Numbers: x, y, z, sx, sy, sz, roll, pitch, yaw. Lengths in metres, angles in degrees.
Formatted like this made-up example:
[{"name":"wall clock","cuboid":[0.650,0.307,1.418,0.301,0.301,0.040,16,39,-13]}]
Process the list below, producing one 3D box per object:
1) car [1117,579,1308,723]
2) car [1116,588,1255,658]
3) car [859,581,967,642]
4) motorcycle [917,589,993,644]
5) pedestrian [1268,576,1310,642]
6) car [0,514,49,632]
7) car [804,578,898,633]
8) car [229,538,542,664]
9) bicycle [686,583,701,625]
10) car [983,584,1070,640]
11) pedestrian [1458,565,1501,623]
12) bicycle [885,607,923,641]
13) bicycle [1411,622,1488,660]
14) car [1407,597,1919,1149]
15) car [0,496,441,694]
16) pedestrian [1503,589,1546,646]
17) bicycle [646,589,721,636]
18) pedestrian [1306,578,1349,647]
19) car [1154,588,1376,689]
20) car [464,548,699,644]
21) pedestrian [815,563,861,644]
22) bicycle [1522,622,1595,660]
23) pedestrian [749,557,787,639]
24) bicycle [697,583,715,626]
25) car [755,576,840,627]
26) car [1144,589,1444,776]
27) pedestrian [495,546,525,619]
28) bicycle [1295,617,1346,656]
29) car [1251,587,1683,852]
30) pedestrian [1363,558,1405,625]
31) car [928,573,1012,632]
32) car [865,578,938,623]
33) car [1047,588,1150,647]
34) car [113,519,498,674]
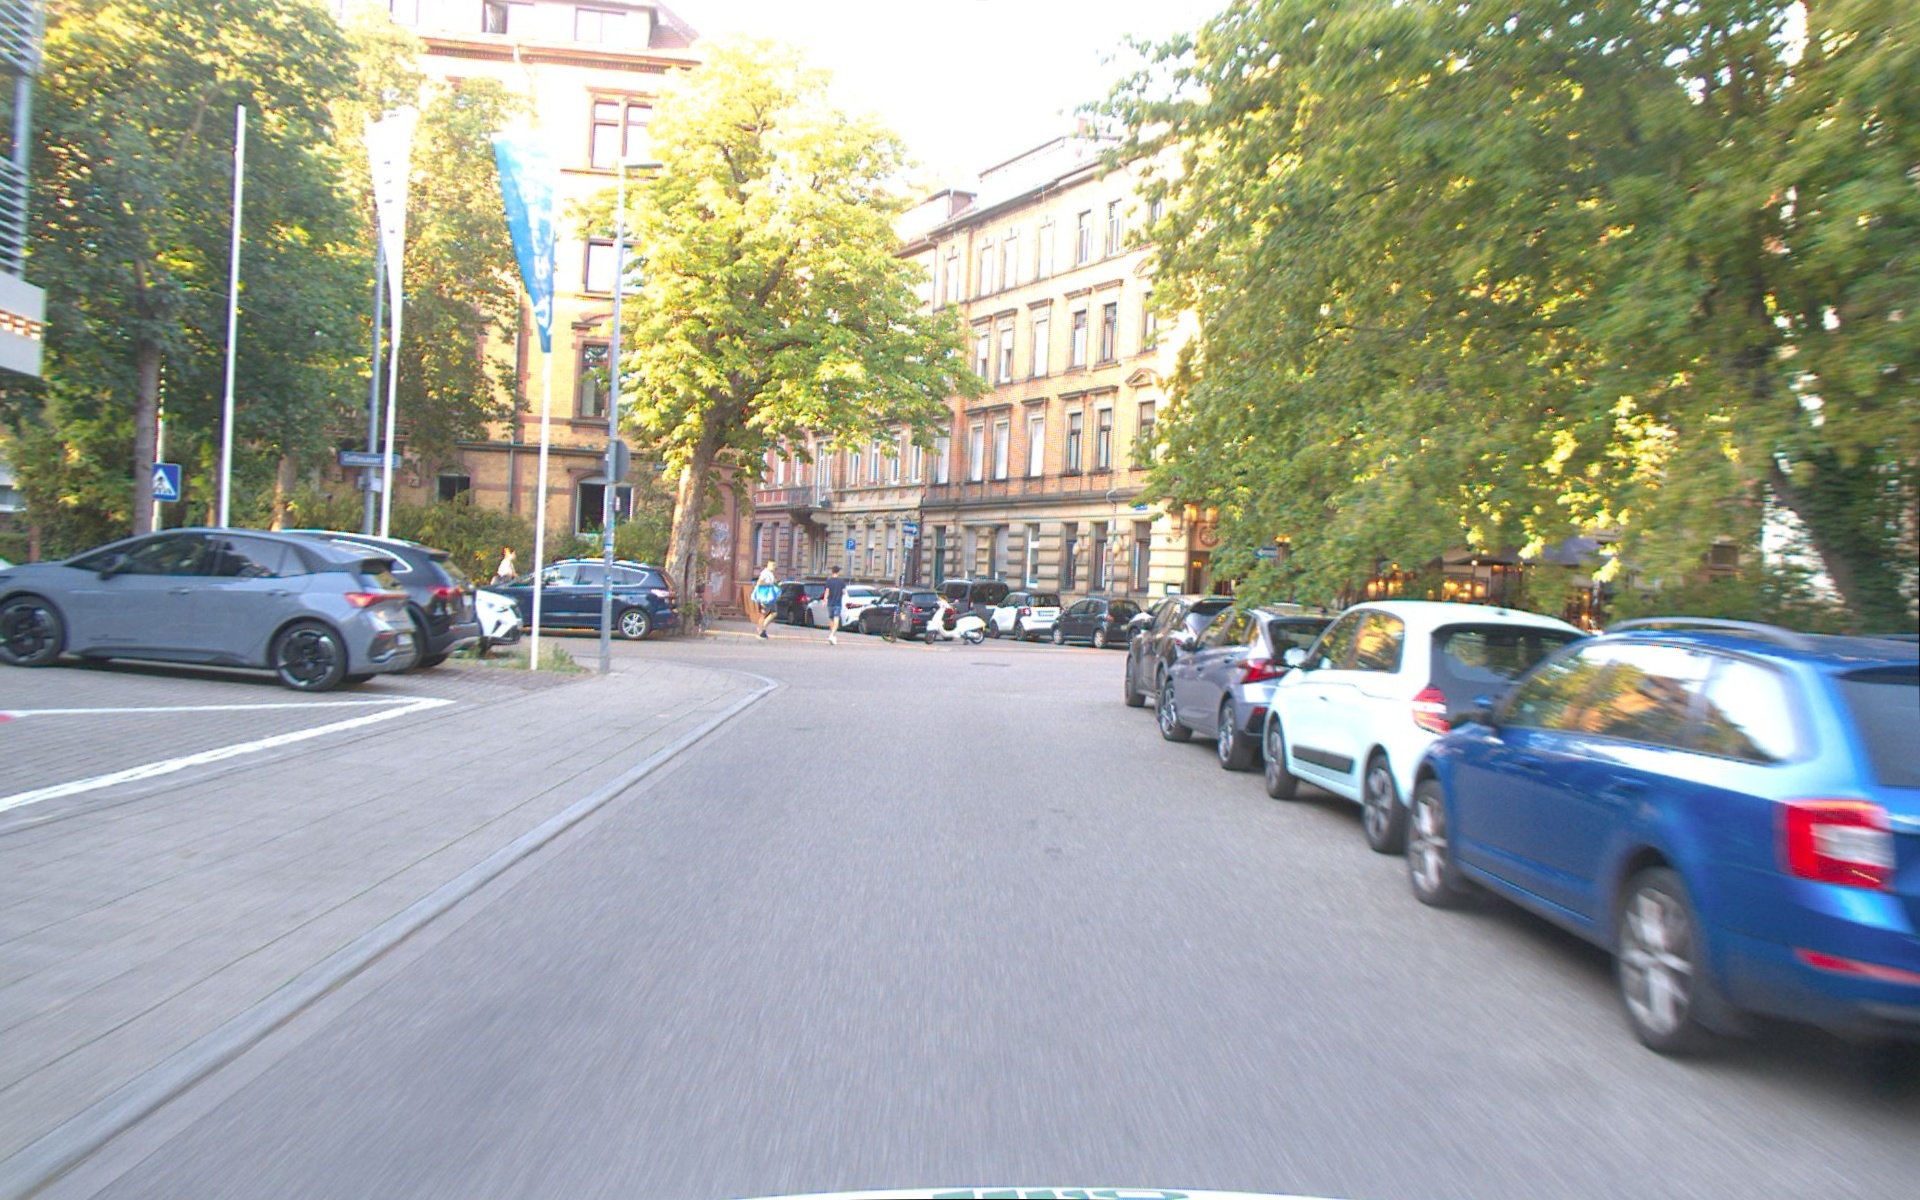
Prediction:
[{"name":"car","cuboid":[3.126,0.577,21.199,1.661,1.598,3.970,3,0,-2]},{"name":"car","cuboid":[6.058,0.585,44.827,1.890,1.552,3.867,3,2,-25]},{"name":"car","cuboid":[-1.406,0.295,47.557,1.633,1.455,3.960,3,2,-25]},{"name":"motorcycle","cuboid":[-0.133,0.446,44.404,1.897,1.364,0.576,2,1,-12]},{"name":"pedestrian","cuboid":[9.383,0.252,47.198,0.828,1.835,0.771,2,1,-22]},{"name":"car","cuboid":[-13.596,-0.398,21.326,1.669,1.577,4.218,3,0,-6]},{"name":"car","cuboid":[-3.483,0.153,52.100,1.632,1.455,4.139,3,2,-23]},{"name":"car","cuboid":[-8.467,-0.011,24.683,3.967,1.500,1.919,5,1,-5]},{"name":"bicycle","cuboid":[-6.950,0.095,43.191,0.237,1.046,1.676,2,1,-5]},{"name":"car","cuboid":[2.090,0.368,52.791,1.653,1.552,2.746,3,1,-25]},{"name":"pedestrian","cuboid":[14.076,-0.174,44.826,0.759,1.507,0.759,2,1,-12]},{"name":"bicycle","cuboid":[-1.432,0.608,42.265,0.416,0.836,1.462,3,1,21]},{"name":"bicycle","cuboid":[12.548,1.052,42.423,1.935,0.900,0.399,2,1,-15]},{"name":"car","cuboid":[3.253,0.790,6.678,1.661,1.502,4.116,3,0,-1]},{"name":"car","cuboid":[-7.800,-0.078,17.324,4.048,1.645,1.912,5,1,-3]},{"name":"pedestrian","cuboid":[15.380,0.476,45.051,0.759,1.507,0.760,2,1,-12]},{"name":"bicycle","cuboid":[-6.496,0.290,38.839,1.650,1.046,0.442,2,1,-26]},{"name":"pedestrian","cuboid":[10.093,0.329,45.436,0.760,1.835,0.840,2,1,-16]},{"name":"car","cuboid":[5.228,0.650,28.054,1.849,1.492,3.947,4,1,42]},{"name":"car","cuboid":[-8.191,-0.107,36.166,4.738,1.762,1.918,3,1,-7]},{"name":"pedestrian","cuboid":[-2.891,0.064,38.967,0.725,1.835,1.115,2,1,-21]},{"name":"bicycle","cuboid":[15.575,1.074,43.042,1.842,0.900,0.399,2,1,-15]},{"name":"pedestrian","cuboid":[-4.570,-0.050,39.339,0.799,1.884,0.802,2,1,-6]},{"name":"bicycle","cuboid":[-6.646,0.112,43.316,0.312,1.046,1.676,2,1,-5]},{"name":"car","cuboid":[-5.584,0.026,56.465,1.634,1.455,3.866,3,2,-25]},{"name":"car","cuboid":[3.082,0.696,16.164,1.662,1.502,4.208,3,0,-6]},{"name":"pedestrian","cuboid":[-10.475,-0.418,38.493,0.532,1.663,0.447,2,1,-6]},{"name":"bicycle","cuboid":[9.528,0.966,43.739,0.317,0.930,1.344,2,2,-42]},{"name":"car","cuboid":[3.339,0.705,11.614,1.662,1.502,3.556,3,0,-4]},{"name":"pedestrian","cuboid":[11.961,-0.247,46.642,0.760,1.835,0.840,2,1,-16]},{"name":"car","cuboid":[0.311,0.068,56.241,1.653,1.813,2.992,3,1,-25]},{"name":"car","cuboid":[-2.197,-0.001,61.498,1.653,1.456,2.992,3,1,-25]},{"name":"car","cuboid":[4.090,0.510,49.237,1.653,1.552,3.219,2,1,-25]},{"name":"car","cuboid":[-7.935,-0.057,20.343,3.986,1.646,1.764,3,1,-3]}]
